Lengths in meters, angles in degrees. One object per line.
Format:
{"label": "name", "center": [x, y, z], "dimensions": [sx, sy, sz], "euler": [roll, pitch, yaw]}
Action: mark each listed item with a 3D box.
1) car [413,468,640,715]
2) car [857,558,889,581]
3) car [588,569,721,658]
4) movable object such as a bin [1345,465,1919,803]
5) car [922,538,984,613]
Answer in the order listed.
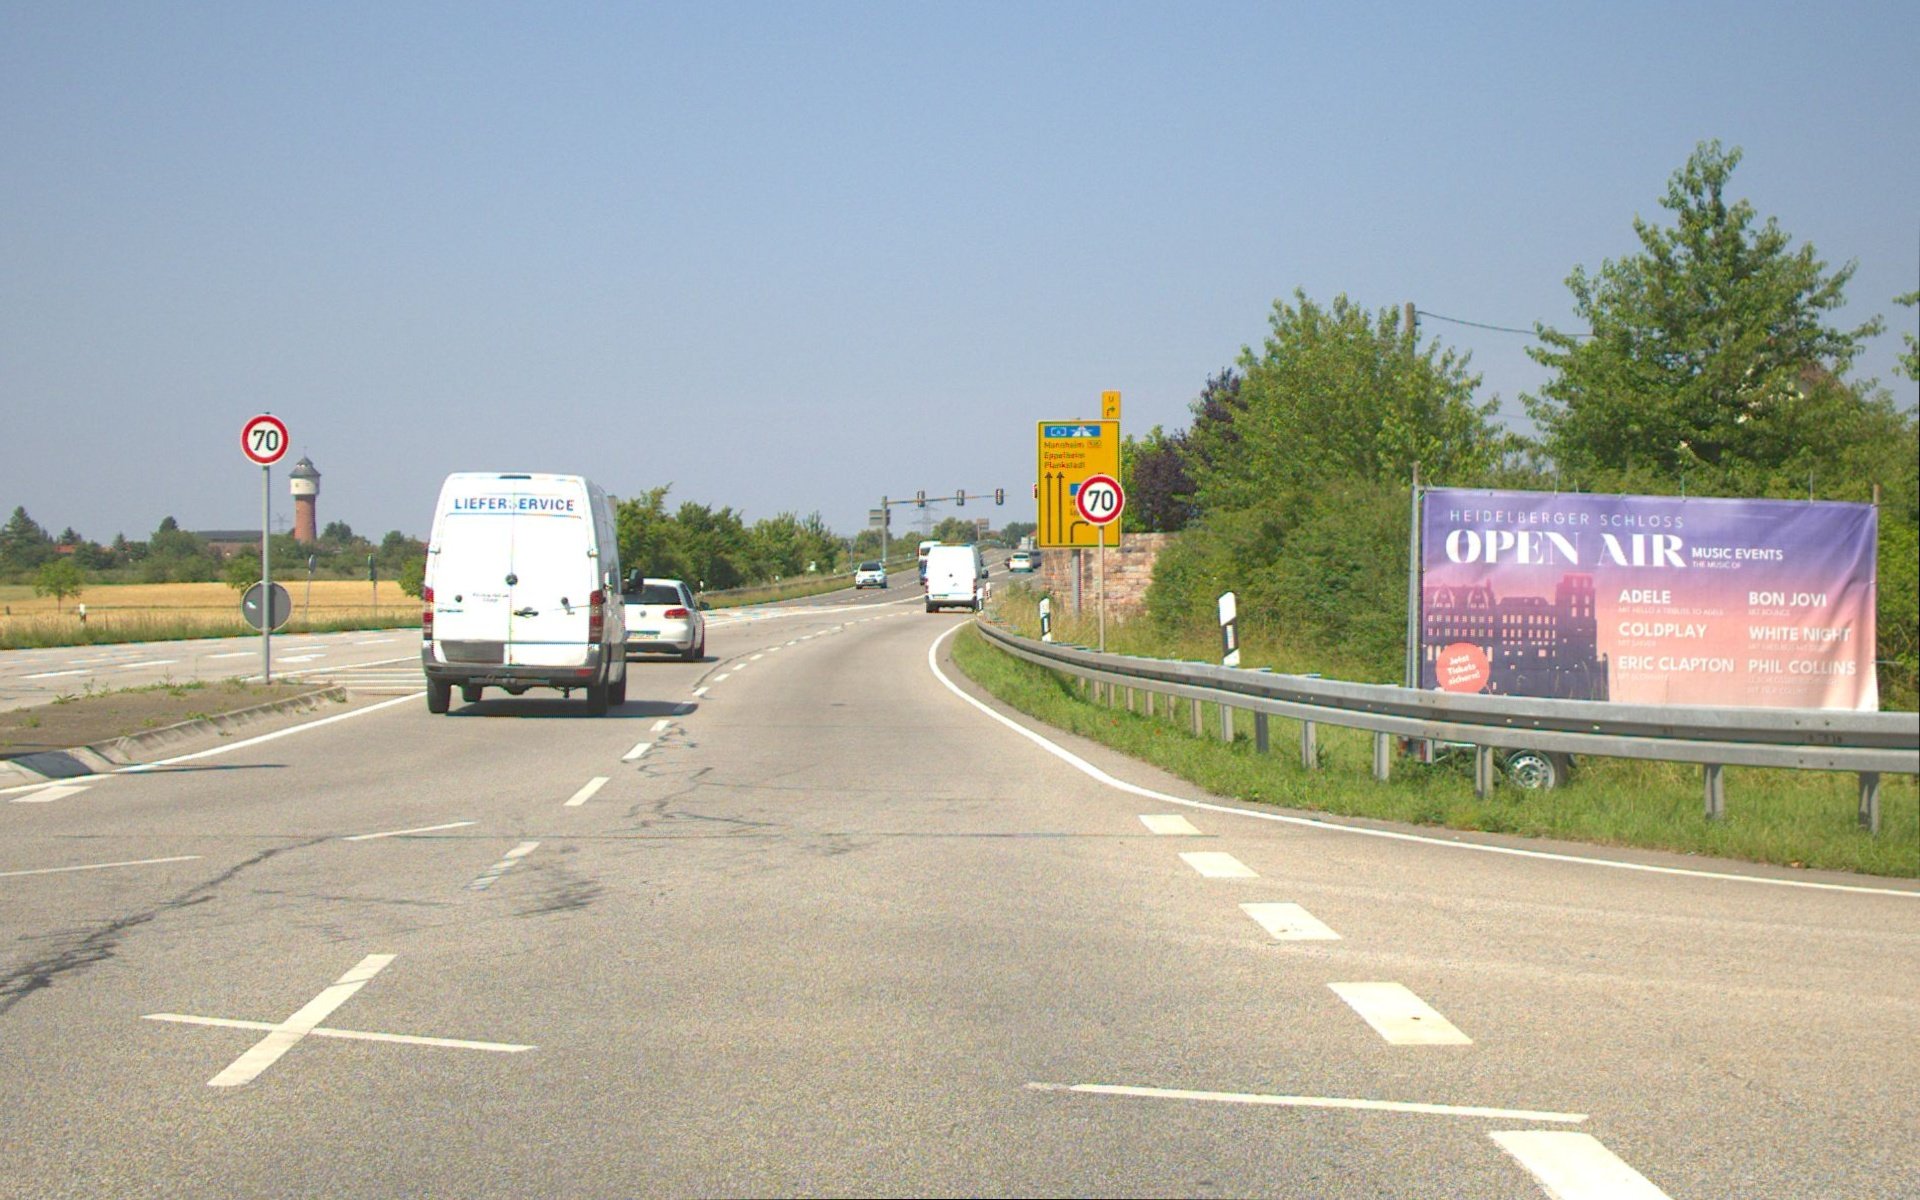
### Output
{"label": "car", "center": [-4.875, -0.083, 39.405], "dimensions": [2.039, 2.611, 5.741], "euler": [0, 0, -2]}
{"label": "car", "center": [-5.613, -1.978, 222.808], "dimensions": [1.749, 1.437, 4.081], "euler": [0, 0, 3]}
{"label": "car", "center": [-5.483, 0.224, 62.120], "dimensions": [1.799, 1.503, 4.196], "euler": [0, 1, 3]}
{"label": "movable object such as a bin", "center": [5.008, 0.253, 25.324], "dimensions": [4.093, 2.323, 1.278], "euler": [1, 0, -4]}
{"label": "car", "center": [-0.252, -0.894, 129.590], "dimensions": [1.994, 2.686, 4.969], "euler": [1, -1, 3]}
